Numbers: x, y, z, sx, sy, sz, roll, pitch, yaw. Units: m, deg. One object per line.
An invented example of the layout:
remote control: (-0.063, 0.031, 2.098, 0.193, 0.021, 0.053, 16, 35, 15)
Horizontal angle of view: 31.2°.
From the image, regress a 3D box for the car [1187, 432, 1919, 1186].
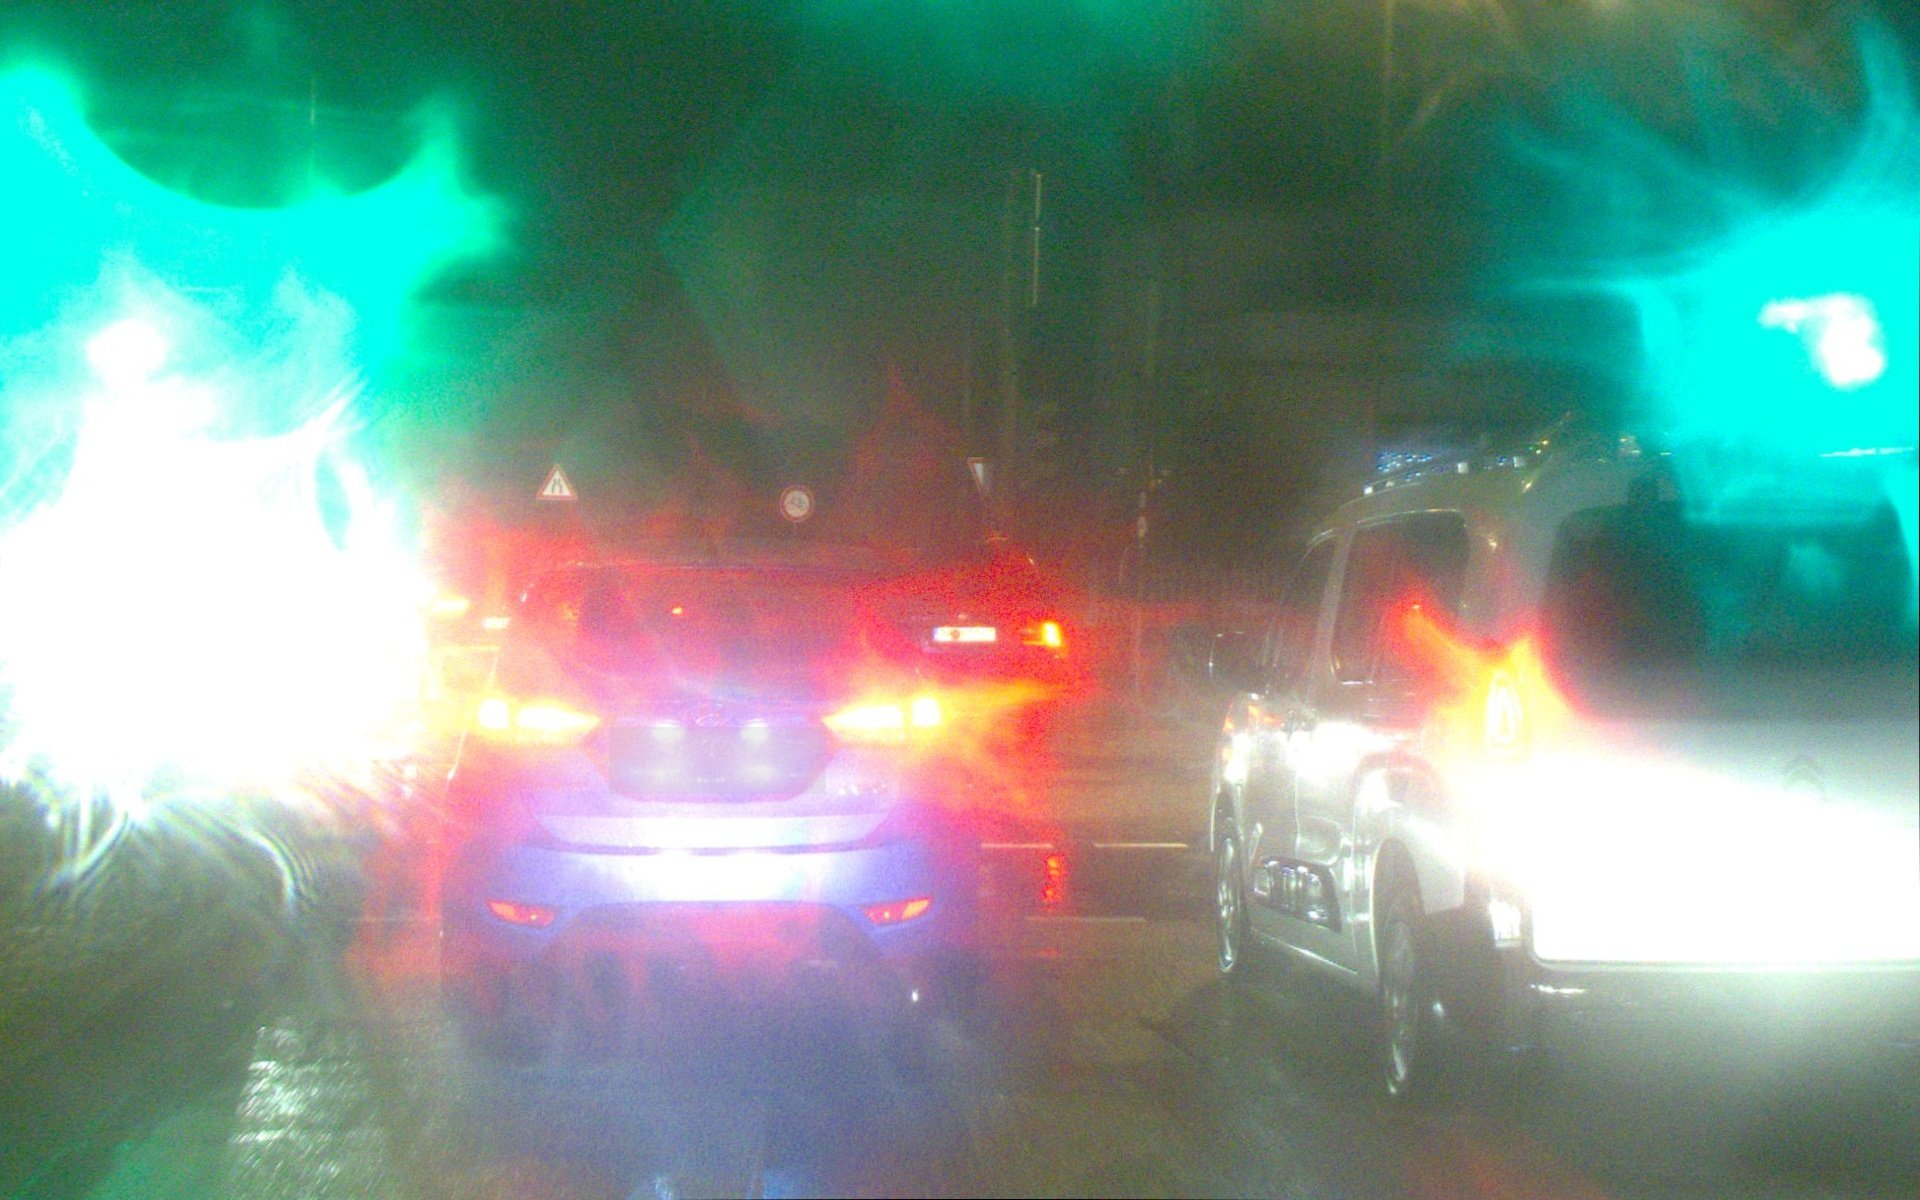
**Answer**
car: (1.926, 0.514, 10.764, 1.851, 1.858, 4.341, 1, 0, -3)

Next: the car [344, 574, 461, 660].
car: (-11.519, 0.329, 70.864, 1.993, 1.664, 4.001, 1, 0, -14)

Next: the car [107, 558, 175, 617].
car: (-26.012, -0.415, 109.146, 1.993, 1.818, 4.001, 1, 0, -15)

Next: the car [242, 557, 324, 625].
car: (-18.630, -0.264, 94.551, 1.993, 1.814, 4.001, 1, 0, -14)

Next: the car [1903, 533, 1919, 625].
car: (18.004, -0.385, 60.399, 1.865, 1.641, 3.963, -1, 0, 2)

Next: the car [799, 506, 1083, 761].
car: (-0.242, 0.258, 29.956, 1.968, 2.040, 4.001, 1, 0, -7)

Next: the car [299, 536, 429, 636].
car: (-10.869, -0.268, 62.483, 1.993, 1.726, 4.001, 1, 0, -14)

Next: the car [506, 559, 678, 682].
car: (-5.507, 0.276, 51.023, 1.993, 1.712, 4.001, 1, 0, -14)

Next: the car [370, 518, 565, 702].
car: (-5.800, 0.093, 40.103, 1.993, 2.007, 4.001, 1, 0, -11)

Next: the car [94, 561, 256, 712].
car: (-10.730, 0.451, 46.989, 2.014, 1.880, 4.453, 1, 1, -13)

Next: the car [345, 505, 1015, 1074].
car: (-1.002, 0.568, 12.770, 2.014, 1.711, 4.452, 1, 0, -4)
